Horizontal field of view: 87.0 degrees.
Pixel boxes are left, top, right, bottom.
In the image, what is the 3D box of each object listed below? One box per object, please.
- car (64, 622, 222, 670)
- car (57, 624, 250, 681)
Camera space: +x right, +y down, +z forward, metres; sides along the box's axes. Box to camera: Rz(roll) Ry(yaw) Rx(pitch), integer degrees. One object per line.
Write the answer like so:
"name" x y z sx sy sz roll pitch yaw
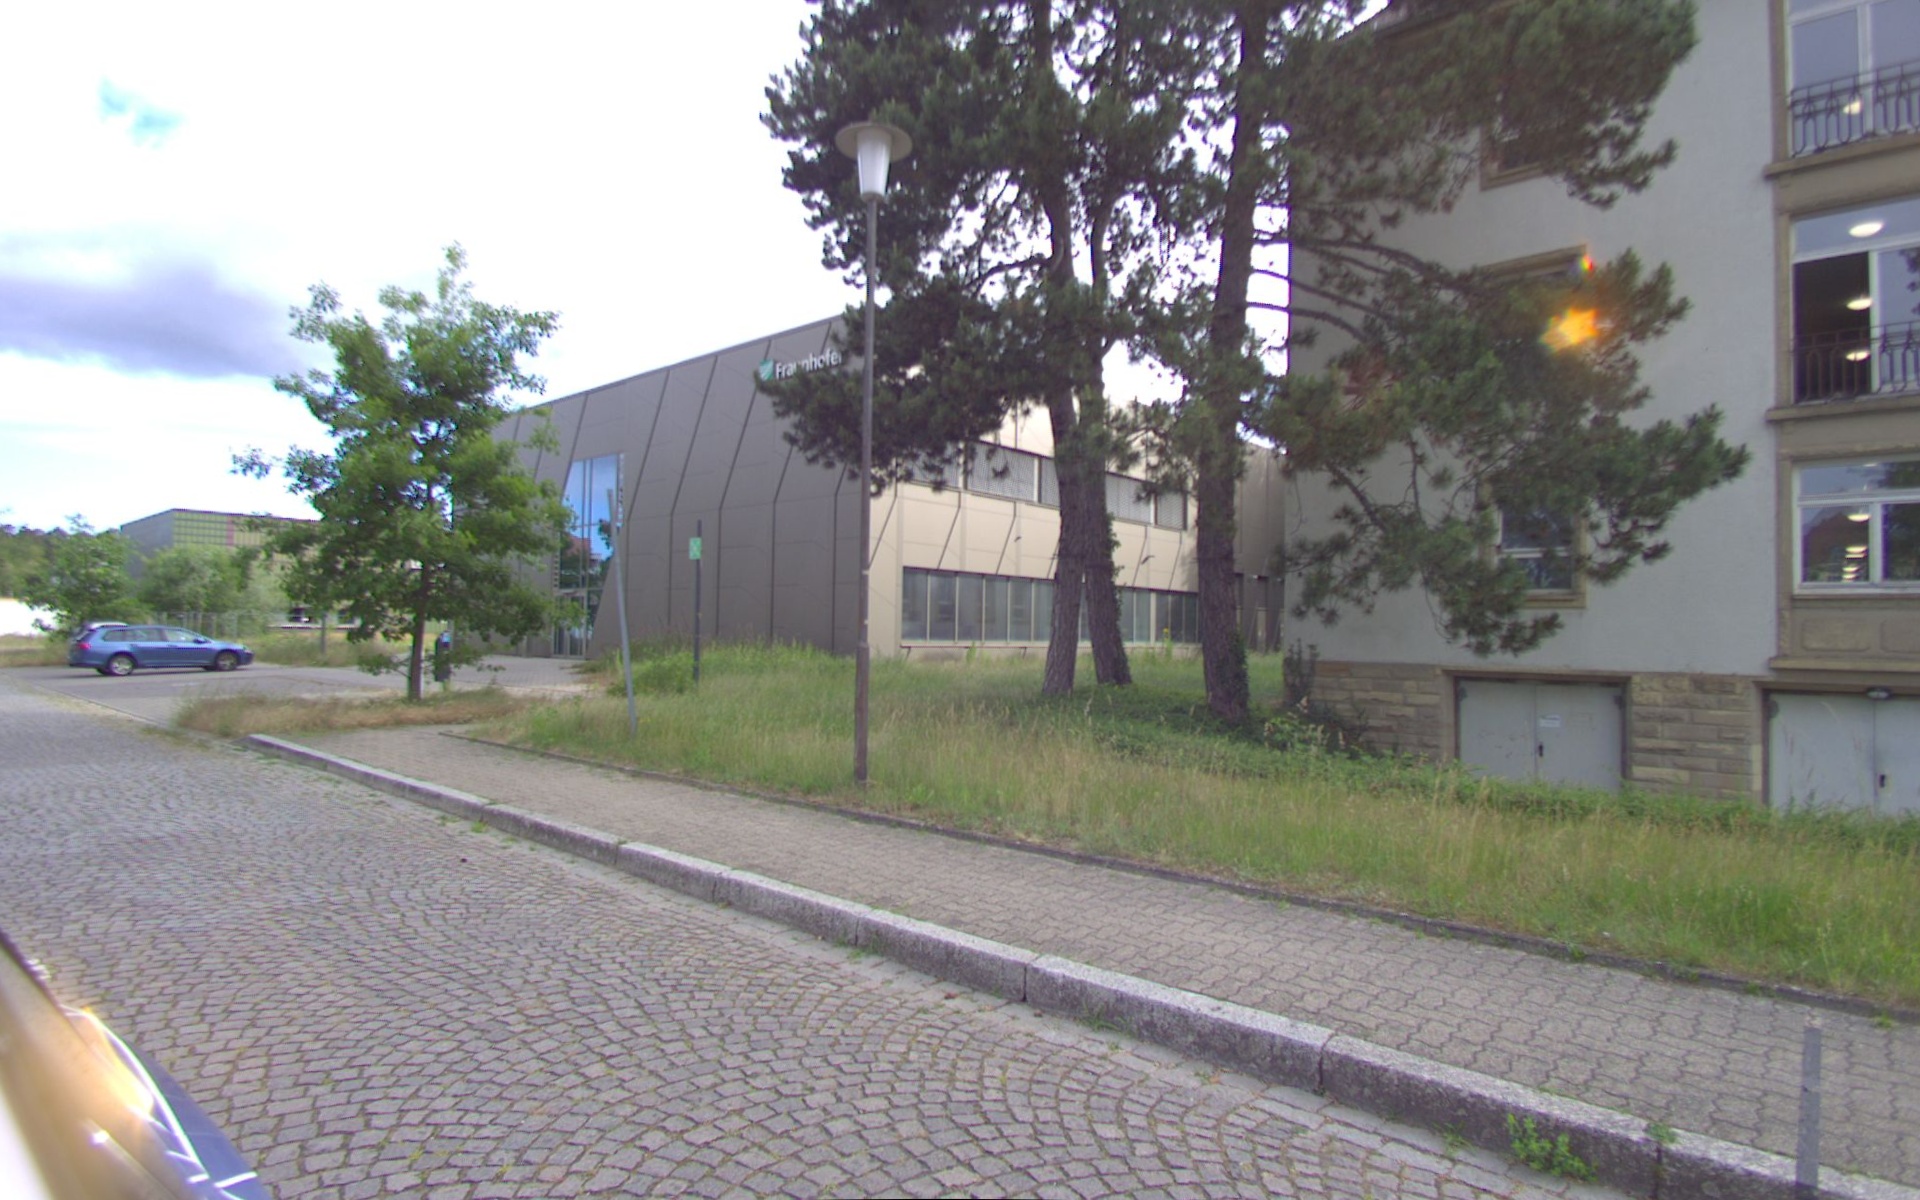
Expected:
"car" -29.346 1.601 36.435 4.339 1.557 1.843 0 -1 -42
"car" -24.469 1.531 30.852 1.715 1.522 4.350 -1 0 38
